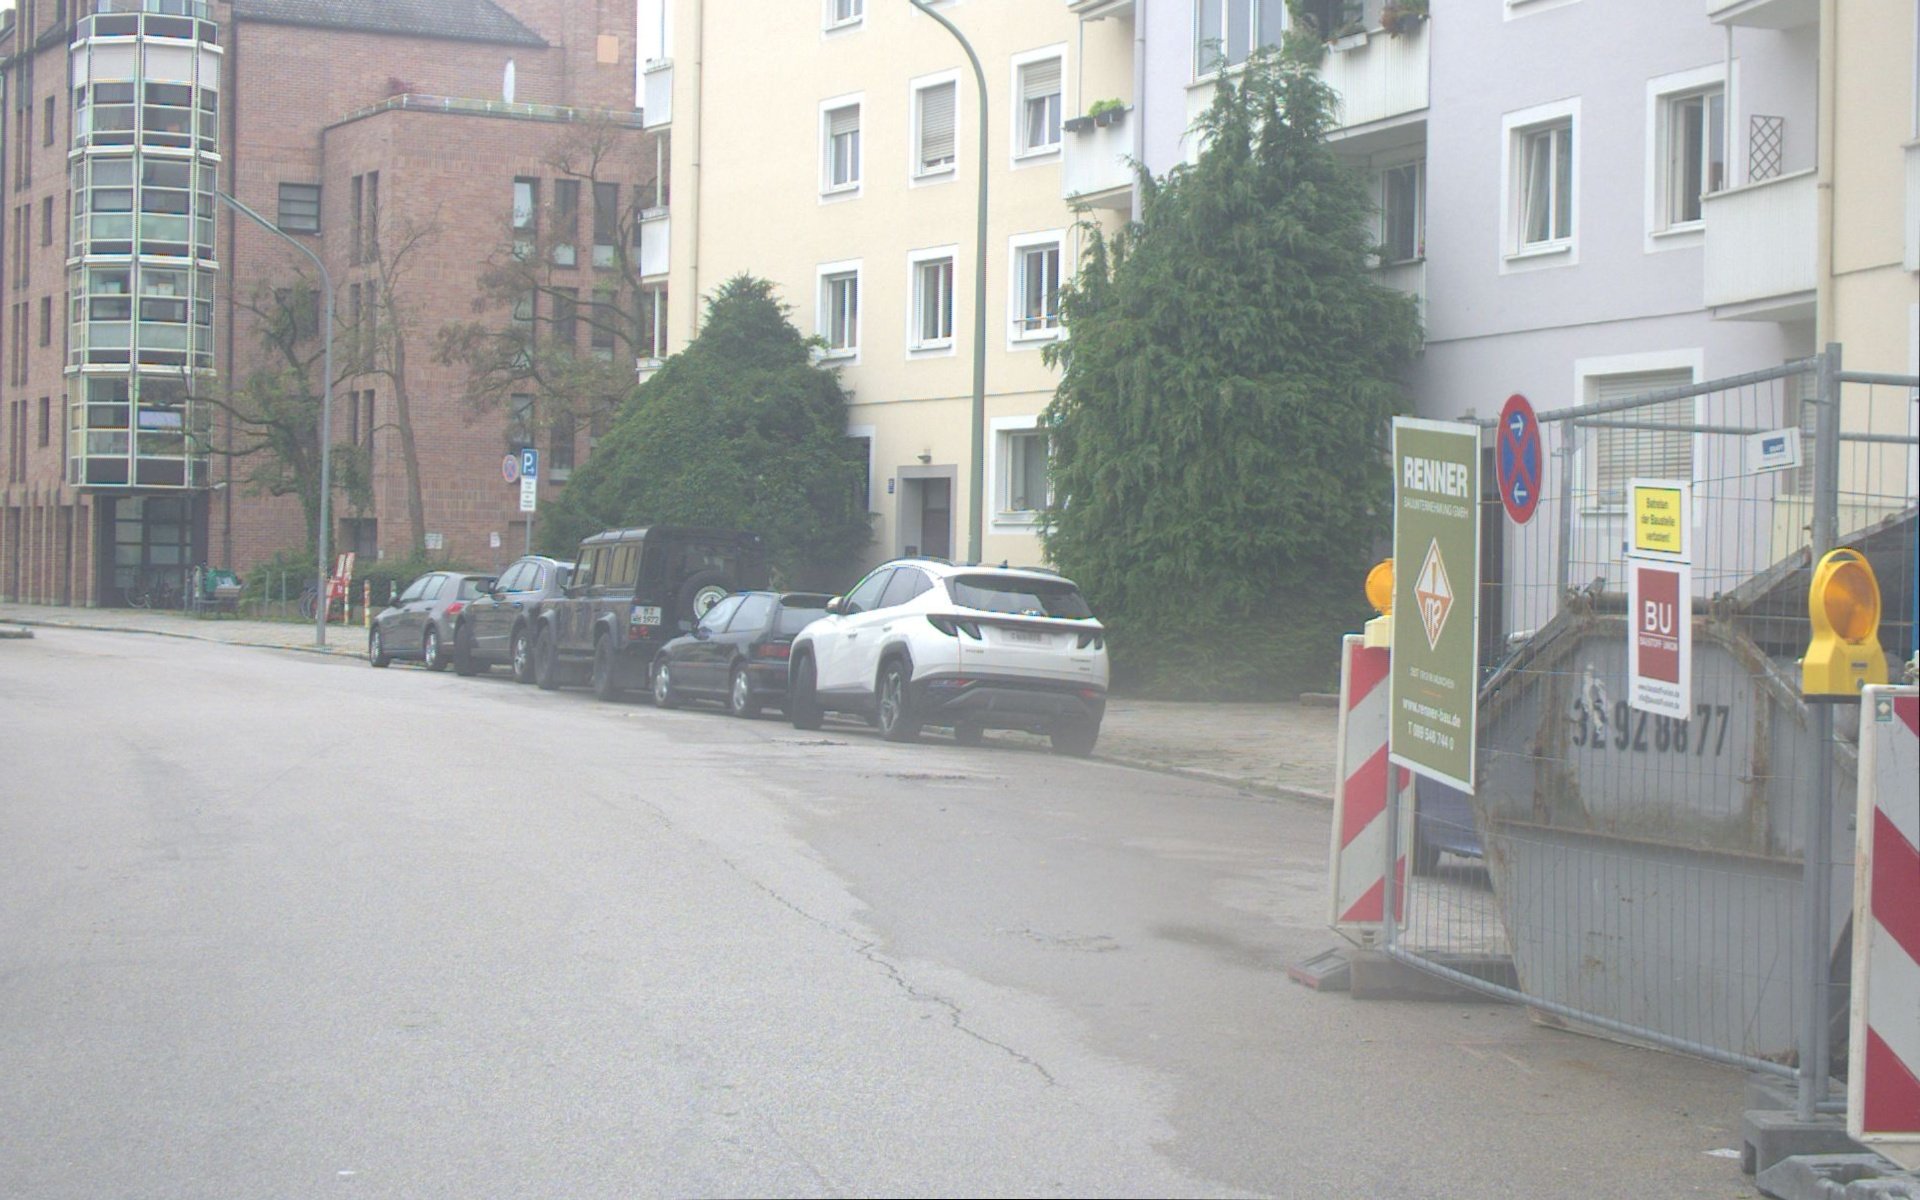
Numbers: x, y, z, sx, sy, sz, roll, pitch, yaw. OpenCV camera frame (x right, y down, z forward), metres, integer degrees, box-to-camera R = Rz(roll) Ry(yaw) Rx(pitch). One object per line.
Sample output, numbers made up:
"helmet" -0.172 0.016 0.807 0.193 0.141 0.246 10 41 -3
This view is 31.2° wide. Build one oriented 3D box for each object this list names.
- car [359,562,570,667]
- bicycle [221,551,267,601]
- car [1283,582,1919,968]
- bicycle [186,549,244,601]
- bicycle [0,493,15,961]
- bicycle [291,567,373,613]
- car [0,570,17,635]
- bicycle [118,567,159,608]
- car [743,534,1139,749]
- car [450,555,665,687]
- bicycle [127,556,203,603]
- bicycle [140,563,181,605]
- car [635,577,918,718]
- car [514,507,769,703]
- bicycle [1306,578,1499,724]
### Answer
"car" -7.190 0.196 49.599 1.754 1.391 4.045 3 -1 -27
"bicycle" -17.451 -0.582 83.840 0.420 1.169 1.360 3 1 18
"car" 3.123 0.719 16.302 1.830 1.437 4.630 3 1 -12
"bicycle" -18.324 -0.610 84.511 0.534 1.244 2.413 2 -1 -33
"bicycle" -3.773 0.518 11.428 0.795 1.716 3.116 -1 2 -8
"bicycle" -14.276 -0.223 78.166 1.700 0.962 0.546 3 1 -26
"car" -24.215 -0.018 82.916 1.924 1.507 4.392 3 0 -27
"bicycle" -21.948 -0.337 91.872 0.486 1.056 1.996 3 -1 -29
"car" -0.274 0.320 31.147 2.025 1.672 4.614 3 1 -21
"car" -5.268 0.233 44.526 1.658 1.560 4.516 3 0 -21
"bicycle" -20.911 -0.534 90.469 1.847 1.143 0.488 3 1 -21
"bicycle" -21.426 -0.424 92.165 0.486 1.056 1.996 3 0 -29
"car" -1.973 0.466 35.882 1.658 1.344 3.805 3 -1 -24
"car" -3.796 0.005 40.186 1.747 2.074 4.517 3 1 -21
"bicycle" 4.423 0.486 34.584 0.742 1.363 2.472 -3 2 -23
